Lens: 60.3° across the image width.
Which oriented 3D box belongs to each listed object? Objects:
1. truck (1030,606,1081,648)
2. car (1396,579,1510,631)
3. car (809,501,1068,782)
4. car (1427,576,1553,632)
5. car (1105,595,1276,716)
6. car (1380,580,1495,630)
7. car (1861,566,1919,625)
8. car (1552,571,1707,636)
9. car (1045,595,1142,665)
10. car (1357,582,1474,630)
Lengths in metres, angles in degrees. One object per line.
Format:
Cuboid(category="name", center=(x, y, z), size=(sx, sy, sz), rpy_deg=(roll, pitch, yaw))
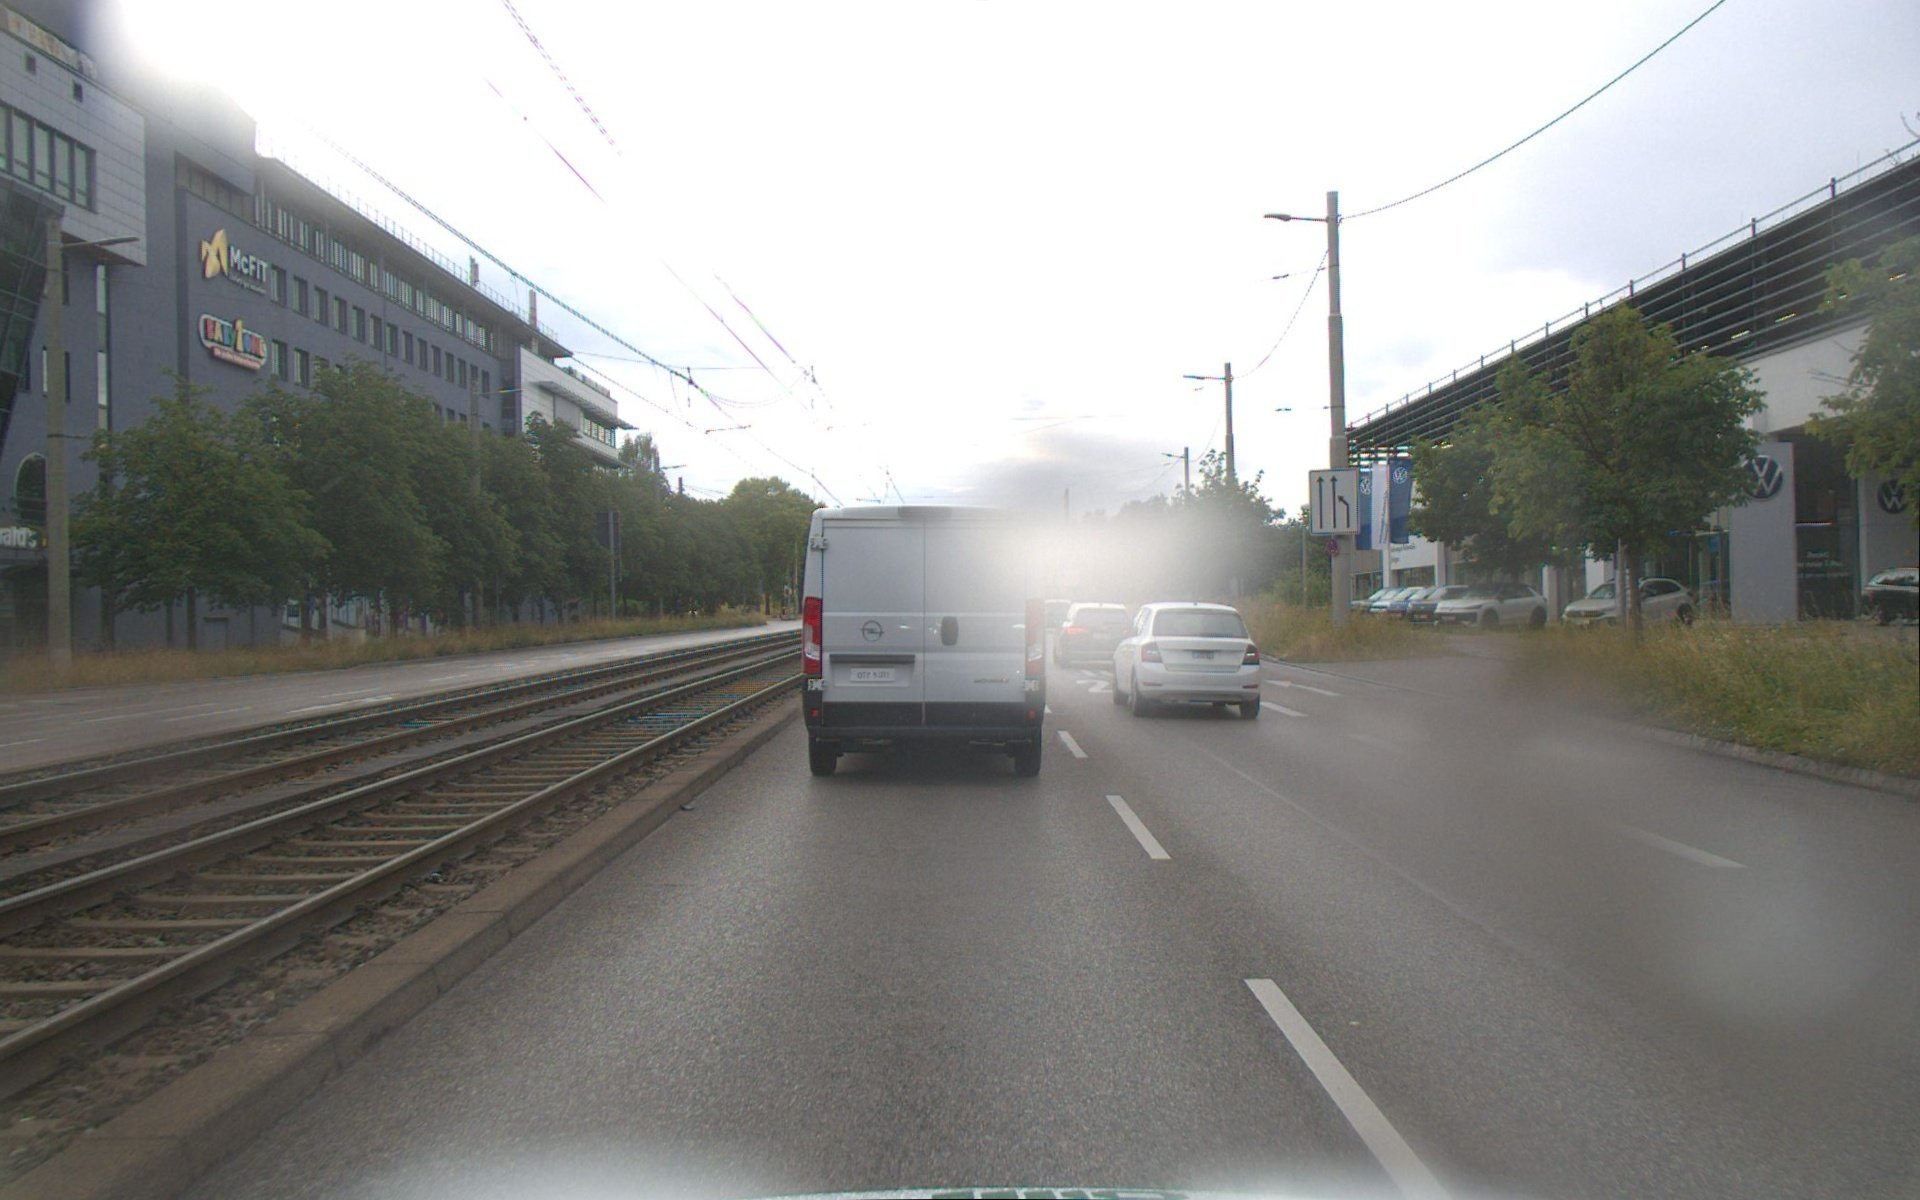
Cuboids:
Cuboid(category="truck", center=(4.384, 1.213, 76.430), size=(1.953, 1.822, 4.412), rpy_deg=(-1, 0, -2))
Cuboid(category="car", center=(16.952, 0.165, 56.819), size=(4.152, 1.596, 1.773), rpy_deg=(-2, -1, -41))
Cuboid(category="car", center=(-0.173, 0.320, 15.660), size=(2.048, 2.235, 5.061), rpy_deg=(0, 0, 0))
Cuboid(category="car", center=(16.931, 0.114, 52.807), size=(4.056, 1.596, 1.776), rpy_deg=(-2, -1, -37))
Cuboid(category="car", center=(3.048, 0.694, 22.548), size=(1.711, 1.483, 3.670), rpy_deg=(1, 0, -1))
Cuboid(category="car", center=(17.431, 0.178, 60.350), size=(4.141, 1.596, 1.777), rpy_deg=(-2, -1, -35))
Cuboid(category="car", center=(25.530, -0.156, 42.826), size=(1.743, 1.493, 4.693), rpy_deg=(-3, -1, 0))
Cuboid(category="car", center=(17.602, 0.080, 43.424), size=(4.049, 1.491, 1.728), rpy_deg=(-2, -1, -33))
Cuboid(category="car", center=(2.947, 0.661, 37.162), size=(1.753, 1.474, 3.999), rpy_deg=(0, -1, -1))
Cuboid(category="car", center=(17.639, 0.224, 63.973), size=(4.295, 1.654, 1.838), rpy_deg=(-2, -1, -30))
